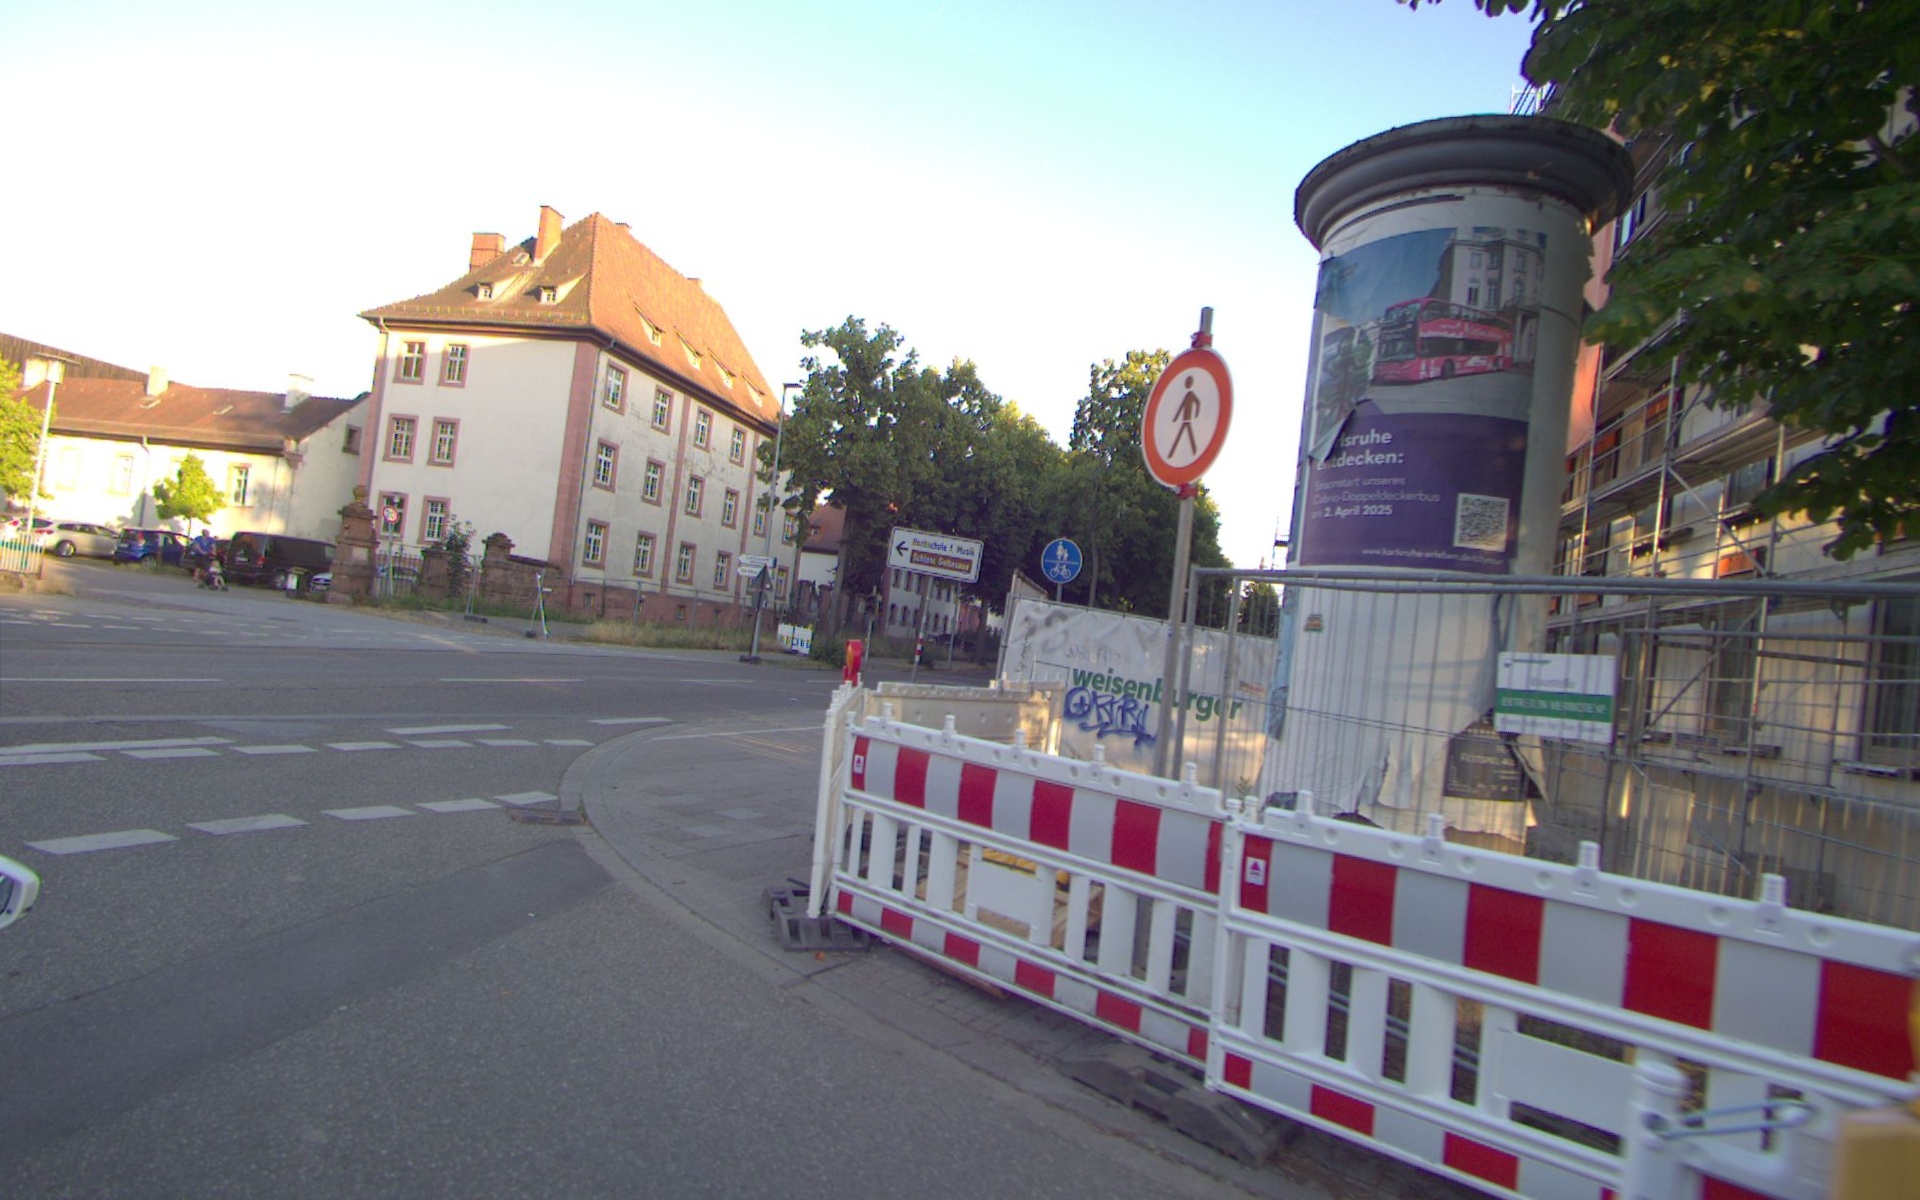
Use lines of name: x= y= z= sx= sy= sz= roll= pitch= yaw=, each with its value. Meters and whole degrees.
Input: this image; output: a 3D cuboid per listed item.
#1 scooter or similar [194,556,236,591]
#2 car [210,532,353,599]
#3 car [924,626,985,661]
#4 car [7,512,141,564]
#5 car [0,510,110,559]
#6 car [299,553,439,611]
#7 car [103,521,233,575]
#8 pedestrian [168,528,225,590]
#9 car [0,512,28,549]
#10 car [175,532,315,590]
scooter or similar: x=-21.969 y=-0.789 z=29.671 sx=0.791 sy=0.900 sz=0.516 roll=7 pitch=-2 yaw=17
car: x=-25.254 y=-1.245 z=37.618 sx=1.962 sy=1.879 sz=4.006 roll=7 pitch=-3 yaw=13
car: x=-0.396 y=3.233 z=74.100 sx=3.924 sy=2.037 sz=2.003 roll=7 pitch=-2 yaw=12
car: x=-36.240 y=-2.516 z=41.284 sx=1.654 sy=1.461 sz=3.758 roll=7 pitch=-3 yaw=13
car: x=-38.528 y=-2.771 z=42.393 sx=1.654 sy=1.461 sz=3.758 roll=7 pitch=-3 yaw=13
car: x=-20.969 y=-0.599 z=35.901 sx=1.962 sy=1.475 sz=4.006 roll=7 pitch=-3 yaw=13
car: x=-31.648 y=-2.035 z=40.337 sx=1.654 sy=1.546 sz=3.758 roll=7 pitch=-3 yaw=13
pedestrian: x=-22.822 y=-1.217 z=30.061 sx=0.995 sy=1.661 sz=0.753 roll=7 pitch=-2 yaw=17
car: x=-42.499 y=-3.233 z=42.812 sx=1.654 sy=1.461 sz=3.758 roll=7 pitch=-3 yaw=13
car: x=-27.534 y=-1.452 z=38.915 sx=1.962 sy=1.590 sz=4.006 roll=7 pitch=-3 yaw=13
